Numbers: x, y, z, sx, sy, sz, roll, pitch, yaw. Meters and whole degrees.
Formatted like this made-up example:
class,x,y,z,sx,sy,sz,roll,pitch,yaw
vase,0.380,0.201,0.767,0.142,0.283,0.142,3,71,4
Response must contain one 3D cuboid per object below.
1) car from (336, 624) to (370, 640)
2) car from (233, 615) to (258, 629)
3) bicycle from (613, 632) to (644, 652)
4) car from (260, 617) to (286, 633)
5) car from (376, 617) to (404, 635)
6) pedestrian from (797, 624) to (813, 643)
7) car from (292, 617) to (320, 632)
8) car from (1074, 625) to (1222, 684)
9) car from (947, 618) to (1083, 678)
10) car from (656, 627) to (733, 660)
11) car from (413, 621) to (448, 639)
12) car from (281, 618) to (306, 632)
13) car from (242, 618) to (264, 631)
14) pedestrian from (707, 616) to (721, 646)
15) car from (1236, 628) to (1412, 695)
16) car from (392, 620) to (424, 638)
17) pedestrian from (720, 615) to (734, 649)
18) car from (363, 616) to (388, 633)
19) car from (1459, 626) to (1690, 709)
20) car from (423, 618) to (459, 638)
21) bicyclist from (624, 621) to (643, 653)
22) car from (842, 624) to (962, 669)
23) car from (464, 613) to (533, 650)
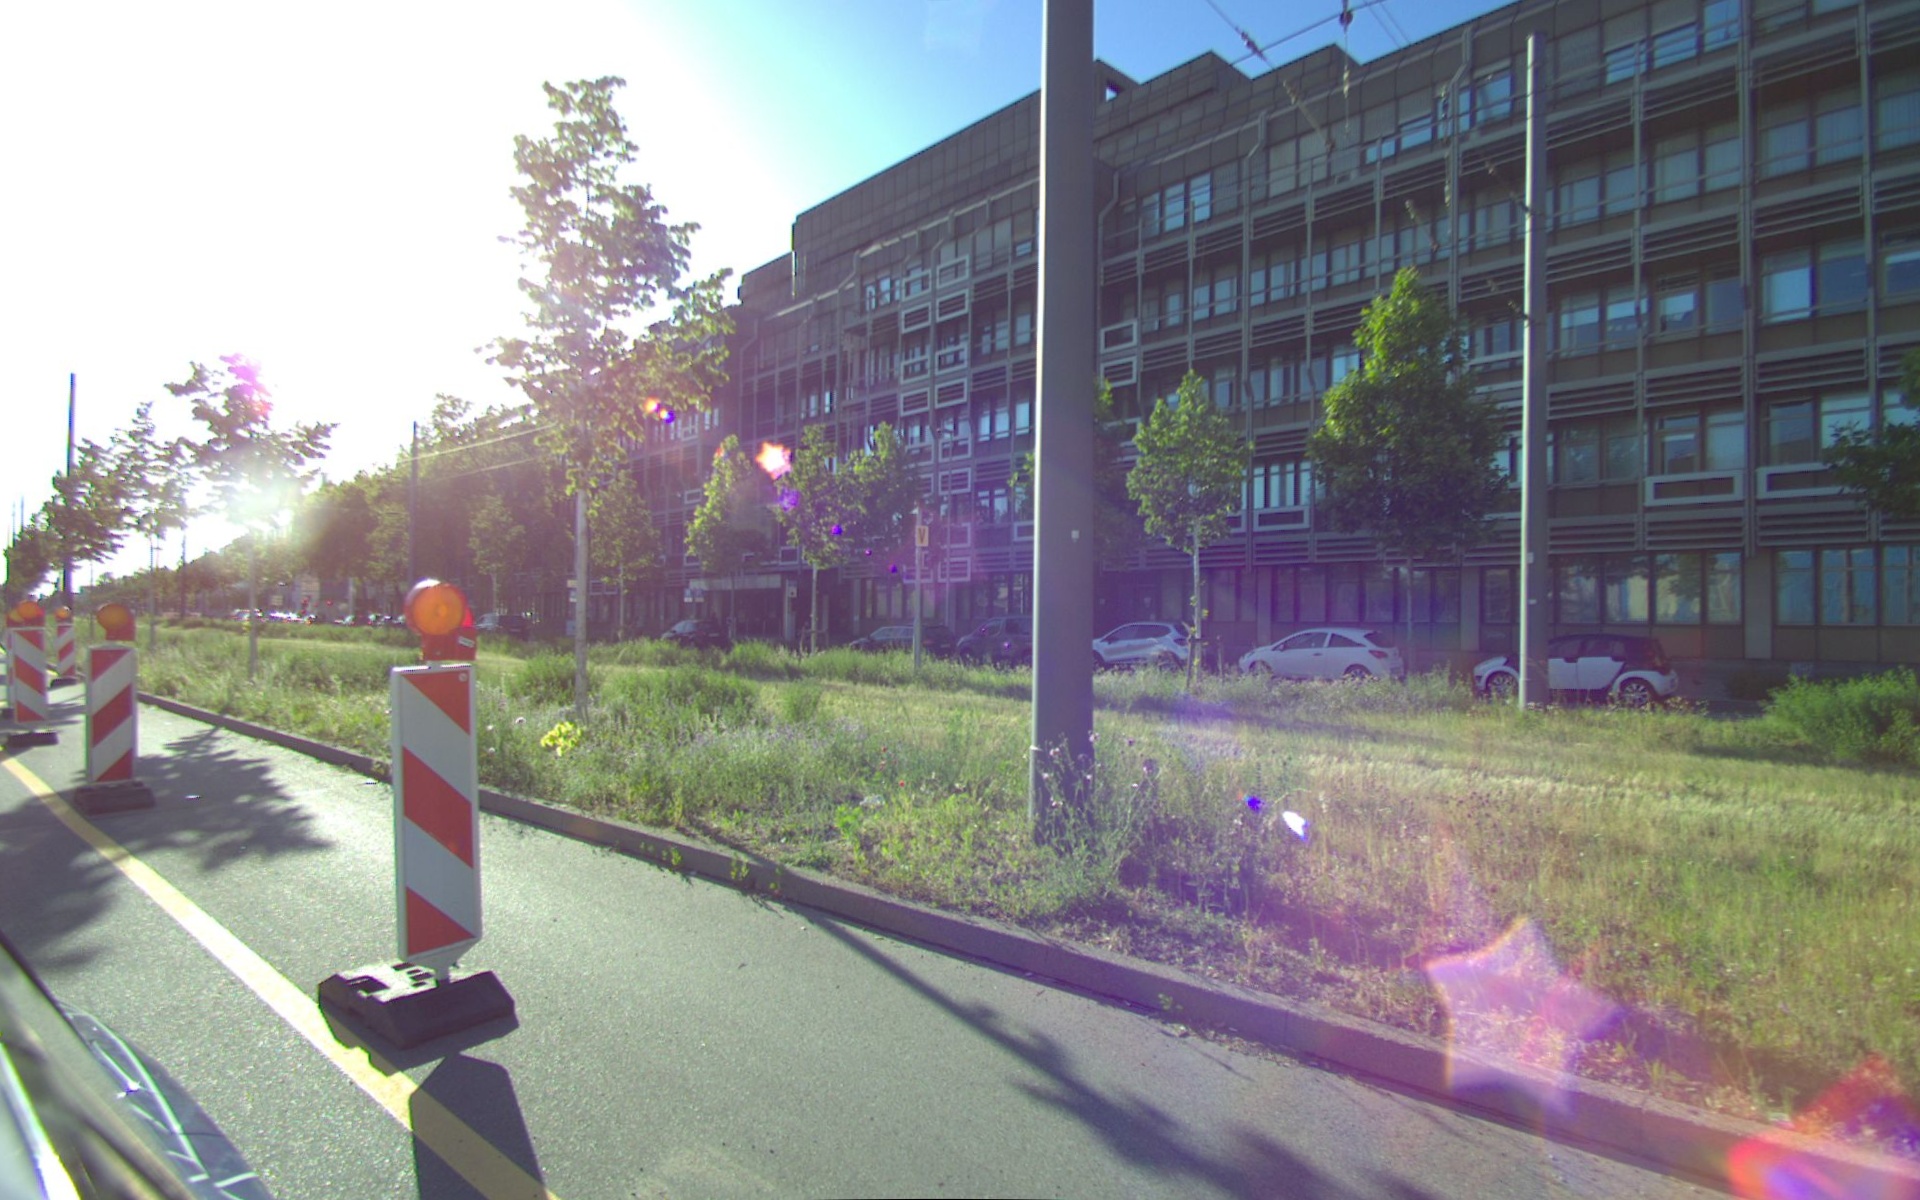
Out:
class,x,y,z,sx,sy,sz,roll,pitch,yaw
car,-52.051,2.736,86.774,1.695,1.398,4.043,2,-2,-43
car,-83.853,2.582,118.751,1.838,1.694,3.784,2,-2,-43
bicycle,-15.269,1.943,46.579,1.771,0.884,0.558,-1,-3,44
car,-67.964,2.441,100.088,1.608,1.507,3.784,2,-2,-43
car,-54.694,2.500,97.105,1.489,1.614,3.529,-1,0,-45
pedestrian,-8.001,1.736,52.258,0.609,0.993,0.499,2,-2,-42
car,-65.874,2.464,101.920,1.608,1.507,4.421,2,-2,-43
car,5.321,1.497,28.960,1.718,1.548,3.887,0,-1,-44
car,1.692,1.481,32.475,1.730,1.785,4.334,0,-1,-44
car,-12.415,1.994,47.153,1.696,1.397,4.043,-2,0,-44
car,-46.765,2.652,89.356,3.632,1.497,1.702,-1,-3,44
car,-73.259,2.701,111.206,1.608,1.507,3.784,2,-2,-43
car,-77.949,2.741,111.576,1.532,1.390,3.784,2,-2,-43
pedestrian,-12.759,1.604,52.528,0.514,1.590,0.537,2,-2,-41
car,9.004,1.477,25.246,1.606,1.452,3.821,0,0,-44
car,-50.953,2.652,93.386,1.702,1.614,3.633,-1,0,-45
pedestrian,-12.178,1.676,52.903,0.514,1.735,0.537,2,-2,-41
car,-58.514,2.457,101.329,1.371,1.614,3.268,-1,0,-45
car,13.057,1.359,21.668,1.630,1.566,3.969,1,-1,-44
car,-43.391,2.336,84.576,1.702,1.555,3.633,-1,0,-45
bicyclist,-14.911,1.679,46.235,0.706,1.468,0.558,-1,-3,44
car,-2.139,1.610,36.296,4.506,1.480,1.710,-1,0,44
car,-22.823,1.540,50.014,4.122,1.760,1.709,-1,-1,44
